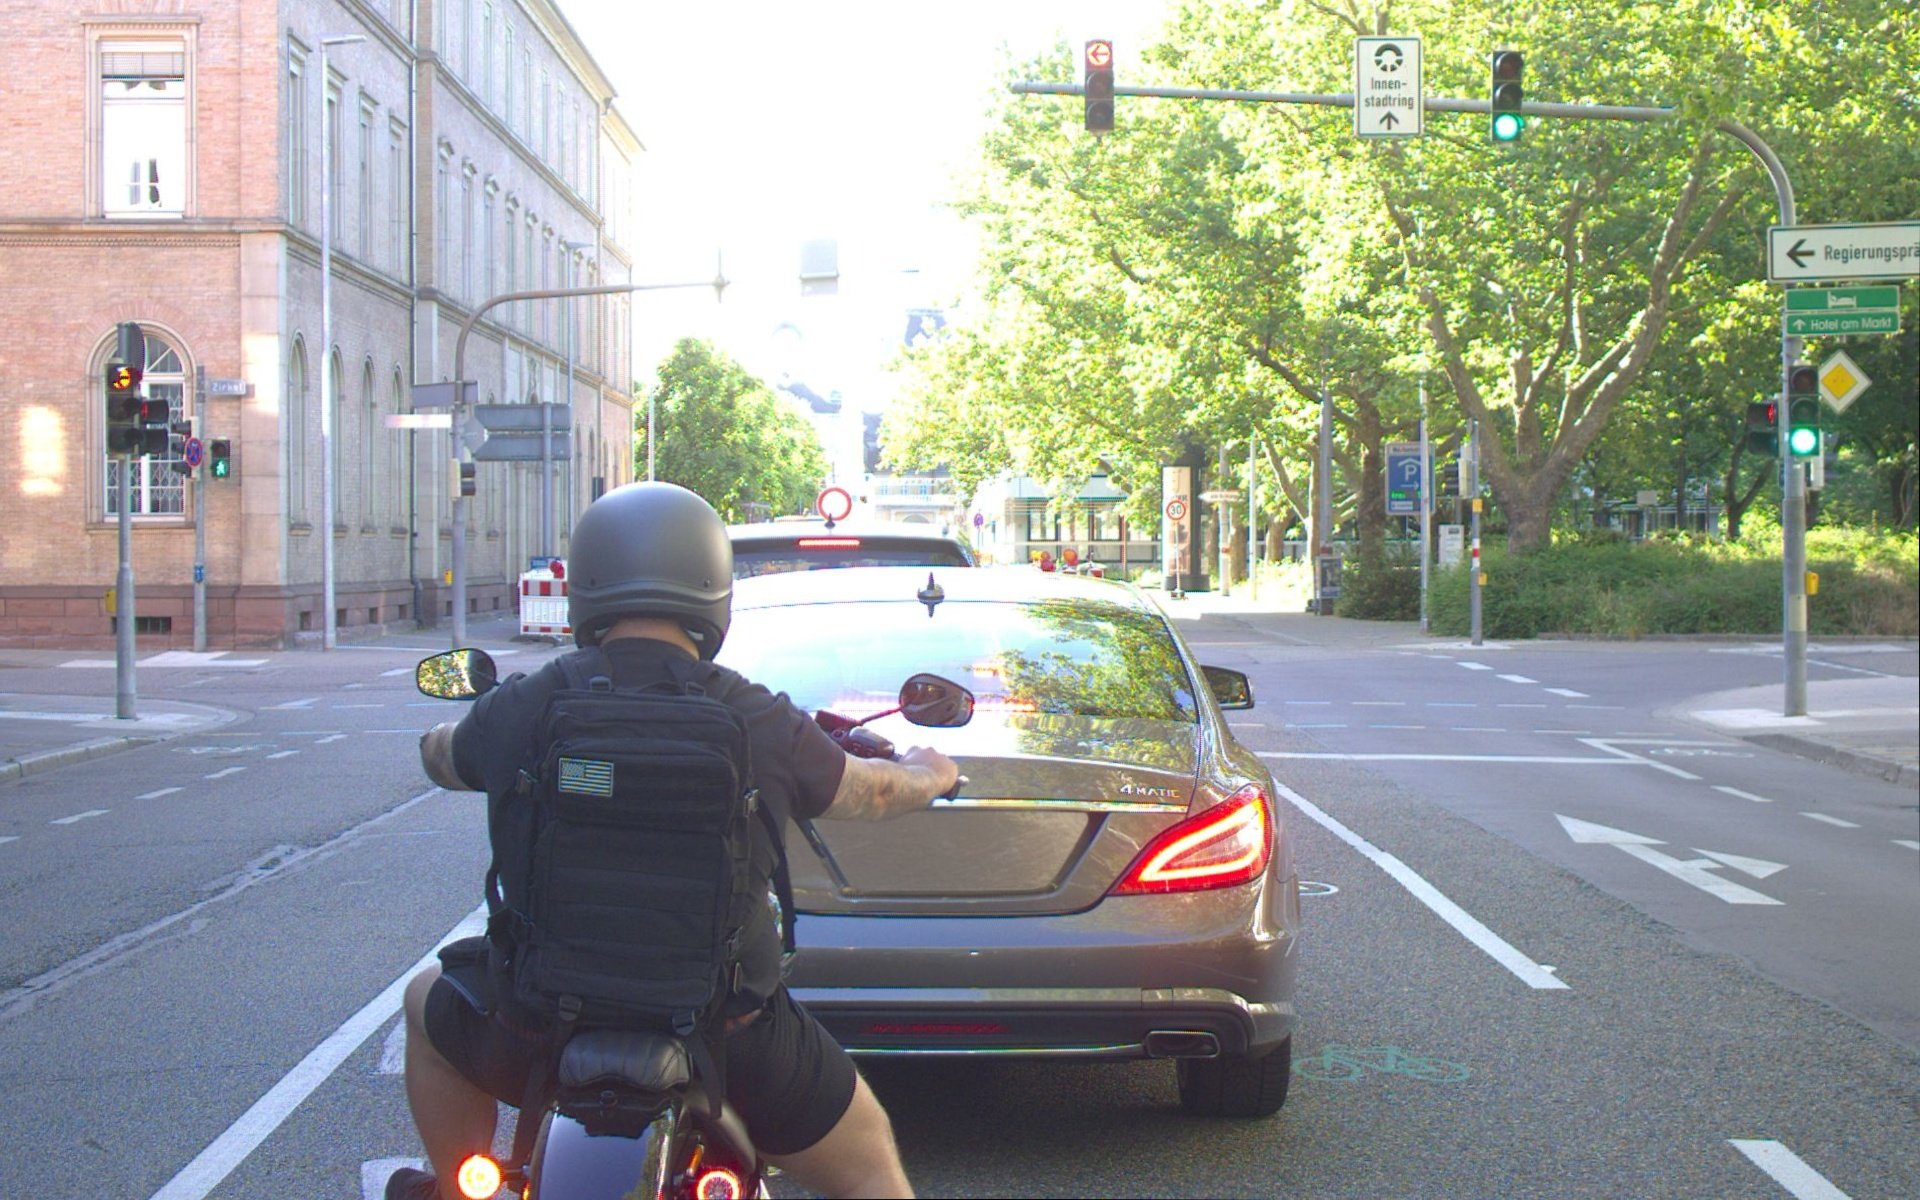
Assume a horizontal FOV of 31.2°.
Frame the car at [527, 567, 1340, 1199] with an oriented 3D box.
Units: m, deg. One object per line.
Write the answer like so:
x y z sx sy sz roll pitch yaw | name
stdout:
-0.081 0.637 9.690 1.822 1.432 3.806 1 1 -1 | car

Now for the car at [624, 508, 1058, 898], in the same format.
-0.541 0.429 16.968 1.863 1.672 4.000 1 1 -1 | car

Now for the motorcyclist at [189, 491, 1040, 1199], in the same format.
-0.478 0.631 5.302 1.099 1.560 1.071 1 0 6 | motorcyclist

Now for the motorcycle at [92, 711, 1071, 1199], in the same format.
-0.464 0.834 5.526 1.118 1.203 2.212 1 1 6 | motorcycle
